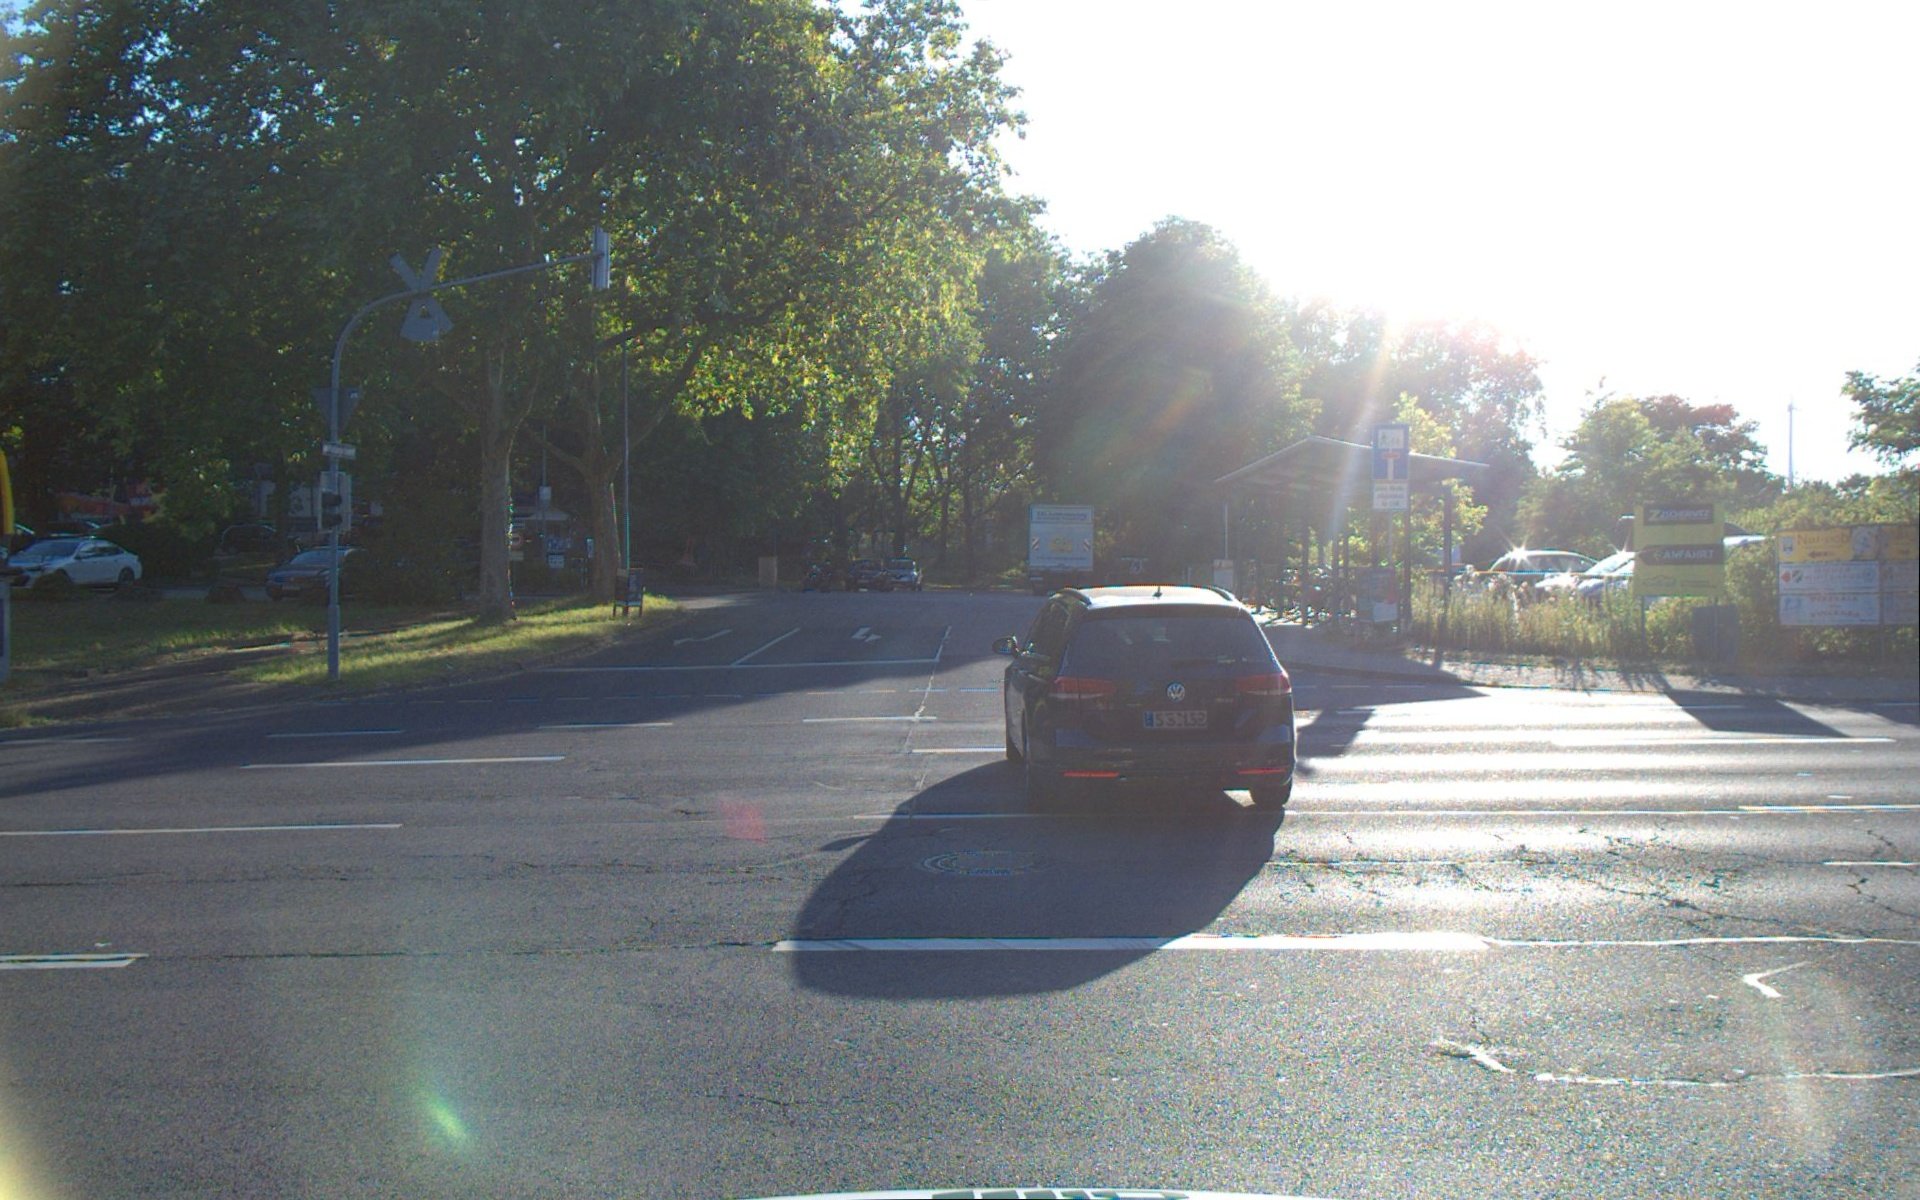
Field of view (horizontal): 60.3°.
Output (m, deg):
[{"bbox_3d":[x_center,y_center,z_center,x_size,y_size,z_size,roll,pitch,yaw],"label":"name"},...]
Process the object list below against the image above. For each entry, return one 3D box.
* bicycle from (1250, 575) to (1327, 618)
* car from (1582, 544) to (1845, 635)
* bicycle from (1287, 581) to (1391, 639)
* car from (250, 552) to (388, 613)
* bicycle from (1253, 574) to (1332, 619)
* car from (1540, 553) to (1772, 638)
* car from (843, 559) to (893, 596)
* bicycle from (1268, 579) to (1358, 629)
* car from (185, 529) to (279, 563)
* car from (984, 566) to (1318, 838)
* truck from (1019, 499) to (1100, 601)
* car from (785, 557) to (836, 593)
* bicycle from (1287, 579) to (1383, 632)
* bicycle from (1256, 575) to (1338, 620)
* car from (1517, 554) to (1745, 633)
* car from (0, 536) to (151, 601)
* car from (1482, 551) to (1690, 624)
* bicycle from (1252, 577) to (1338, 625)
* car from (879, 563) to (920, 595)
[{"bbox_3d":[8.228,-0.091,41.450,1.847,1.056,0.544,-1,1,5],"label":"bicycle"},{"bbox_3d":[14.473,-0.236,31.947,4.127,1.677,2.120,0,2,-1],"label":"car"},{"bbox_3d":[7.194,0.189,31.409,1.848,1.056,0.544,-1,1,2],"label":"bicycle"},{"bbox_3d":[-17.729,-0.531,45.996,1.994,1.601,4.404,-1,1,2],"label":"car"},{"bbox_3d":[8.060,-0.079,40.138,1.847,1.056,0.544,-1,1,5],"label":"bicycle"},{"bbox_3d":[14.276,-0.112,34.106,3.905,1.677,2.120,0,2,0],"label":"car"},{"bbox_3d":[-4.058,-1.018,73.421,1.807,1.579,4.002,0,2,3],"label":"car"},{"bbox_3d":[7.766,0.082,36.419,1.848,1.056,0.544,-1,1,2],"label":"bicycle"},{"bbox_3d":[-34.966,-2.601,79.534,3.925,1.579,1.799,-1,1,-18],"label":"car"},{"bbox_3d":[1.192,0.570,12.093,1.788,1.582,4.257,0,2,-2],"label":"car"},{"bbox_3d":[4.256,-2.108,69.859,3.117,3.943,11.107,0,2,4],"label":"truck"},{"bbox_3d":[-6.803,-1.162,75.751,1.807,1.579,4.002,0,2,3],"label":"car"},{"bbox_3d":[7.738,0.114,34.180,1.848,1.056,0.544,-1,1,2],"label":"bicycle"},{"bbox_3d":[7.995,-0.063,39.256,1.847,1.056,0.544,-1,1,5],"label":"bicycle"},{"bbox_3d":[14.863,-0.177,36.818,4.218,1.677,2.120,0,2,-1],"label":"car"},{"bbox_3d":[-25.060,-0.908,46.336,1.951,1.736,4.904,0,2,6],"label":"car"},{"bbox_3d":[15.033,-0.321,39.898,4.218,1.677,2.120,0,2,-1],"label":"car"},{"bbox_3d":[7.546,0.019,37.281,1.848,1.056,0.544,-1,1,2],"label":"bicycle"},{"bbox_3d":[-3.094,-1.102,85.144,1.807,1.579,4.002,0,2,3],"label":"car"}]
